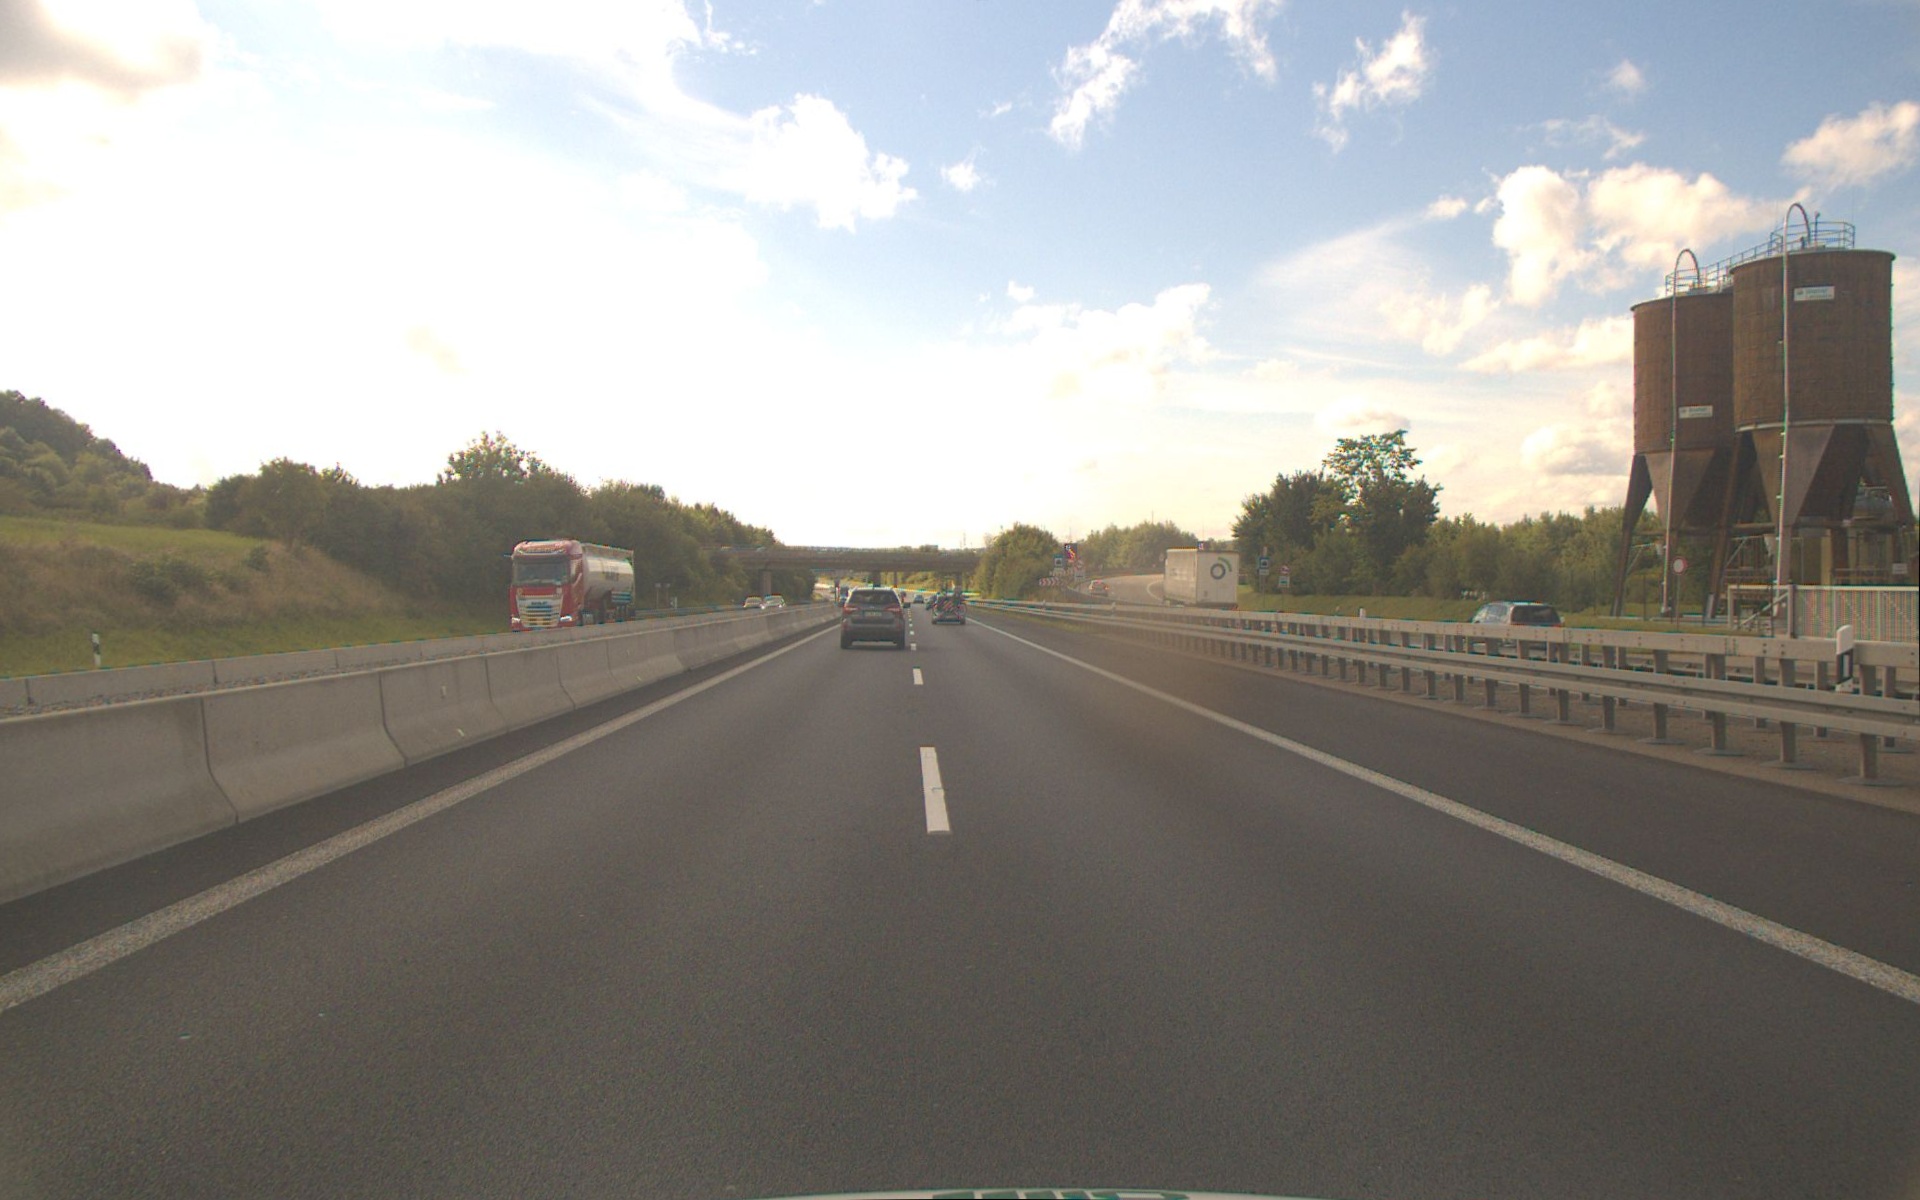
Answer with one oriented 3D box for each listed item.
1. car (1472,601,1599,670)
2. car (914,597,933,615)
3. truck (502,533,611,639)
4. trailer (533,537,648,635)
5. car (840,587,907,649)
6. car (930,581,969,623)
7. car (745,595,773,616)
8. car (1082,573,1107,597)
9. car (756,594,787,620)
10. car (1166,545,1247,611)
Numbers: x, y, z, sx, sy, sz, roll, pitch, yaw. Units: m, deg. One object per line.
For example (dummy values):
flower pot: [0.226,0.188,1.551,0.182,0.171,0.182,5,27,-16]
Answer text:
car: [15.661,0.920,45.248,1.953,1.747,3.999,-2,0,-2]
car: [-3.852,0.609,175.659,1.935,1.810,4.119,-2,0,-2]
truck: [-16.139,-0.542,66.568,2.682,3.993,6.900,-2,0,-1]
trailer: [-16.270,-0.588,73.722,2.658,3.955,11.158,-2,0,-1]
car: [-2.434,0.483,47.464,1.714,1.659,3.608,-2,0,0]
car: [-0.582,0.091,88.146,1.953,2.117,3.999,-2,0,-2]
car: [-17.308,0.474,142.442,1.953,1.747,3.999,-2,0,-2]
car: [11.689,-1.311,143.865,1.952,2.049,4.001,-2,0,2]
car: [-13.942,0.496,122.437,1.771,1.864,4.395,-2,0,-1]
car: [14.898,-1.285,100.573,3.504,3.741,7.546,-2,0,-2]
